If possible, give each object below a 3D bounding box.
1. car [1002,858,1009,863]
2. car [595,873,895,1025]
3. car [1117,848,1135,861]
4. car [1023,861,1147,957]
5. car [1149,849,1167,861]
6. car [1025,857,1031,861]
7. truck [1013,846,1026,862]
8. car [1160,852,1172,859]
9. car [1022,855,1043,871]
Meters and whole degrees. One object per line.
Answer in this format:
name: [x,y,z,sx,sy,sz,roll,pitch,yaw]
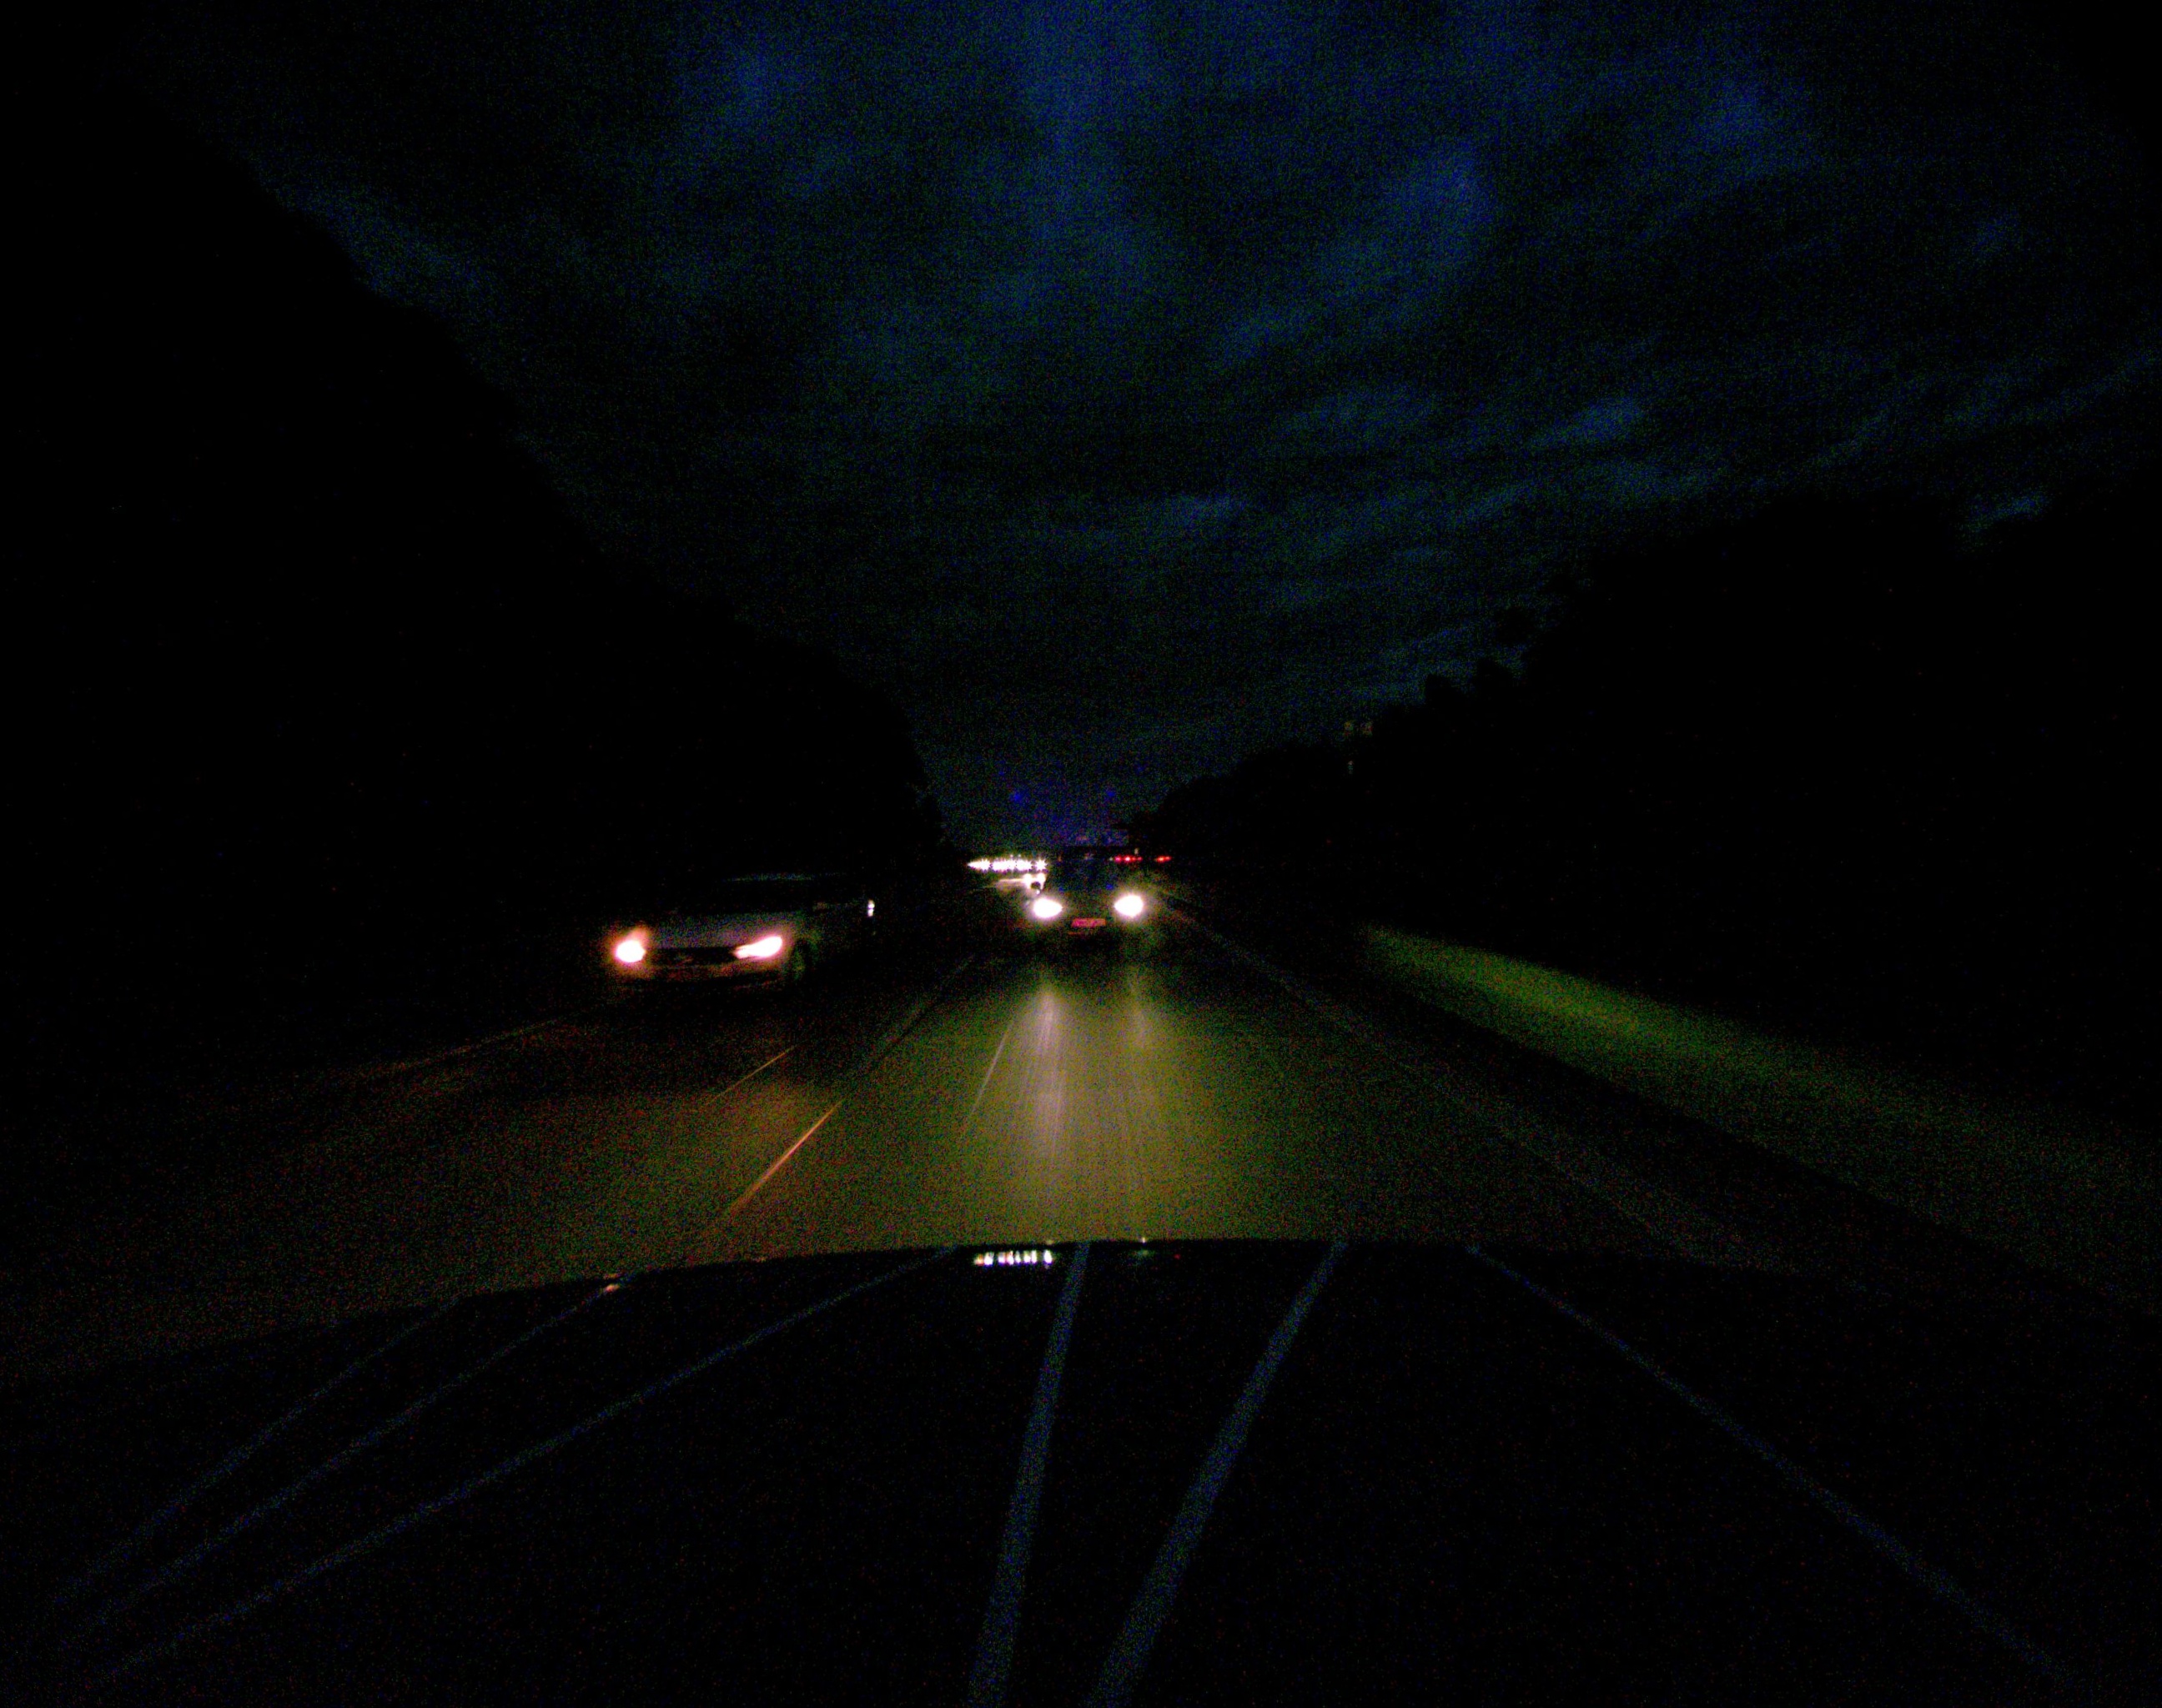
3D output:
car: [-22.976,1.923,230.544,1.820,1.372,4.042,-2,0,-3]
car: [-4.115,1.052,10.444,1.813,1.457,5.132,-2,-1,0]
car: [6.388,0.136,108.038,1.999,1.787,4.830,-2,0,-2]
car: [0.076,0.870,14.031,1.879,1.435,4.451,-2,0,0]
car: [10.040,0.175,99.444,1.880,1.435,4.450,-2,0,-1]
car: [-16.773,1.527,241.740,1.820,1.372,4.197,-2,0,-3]
truck: [-16.635,0.081,205.490,3.146,3.987,10.541,-2,0,-4]
car: [17.860,0.291,159.609,1.820,1.372,4.906,-2,0,-3]
car: [-5.003,0.899,78.863,1.999,1.539,3.999,-2,0,-2]
